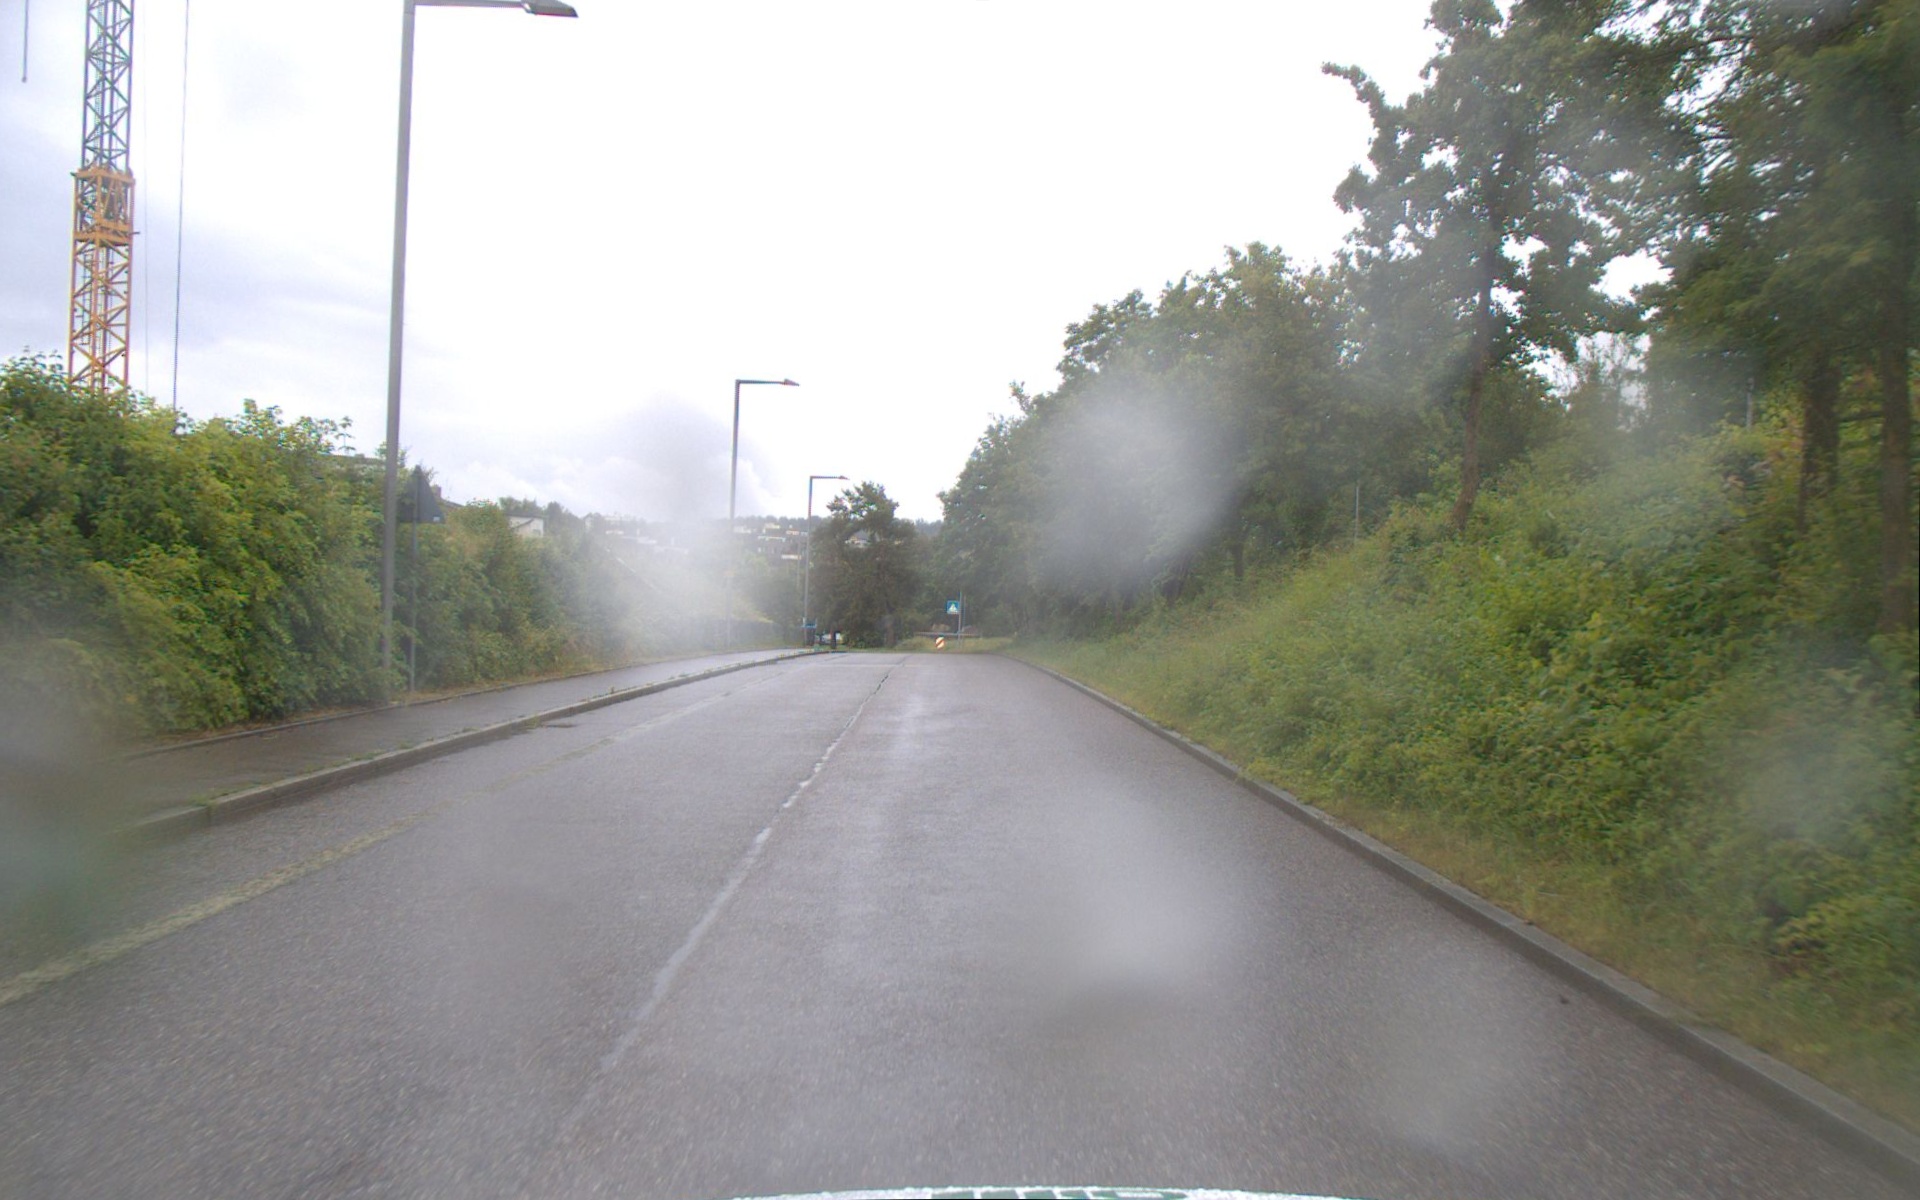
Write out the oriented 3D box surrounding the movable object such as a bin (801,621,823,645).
[{"bbox_3d":[-8.888,1.968,99.491,1.111,1.363,1.395,4,-2,-10],"label":"movable object such as a bin"}]
